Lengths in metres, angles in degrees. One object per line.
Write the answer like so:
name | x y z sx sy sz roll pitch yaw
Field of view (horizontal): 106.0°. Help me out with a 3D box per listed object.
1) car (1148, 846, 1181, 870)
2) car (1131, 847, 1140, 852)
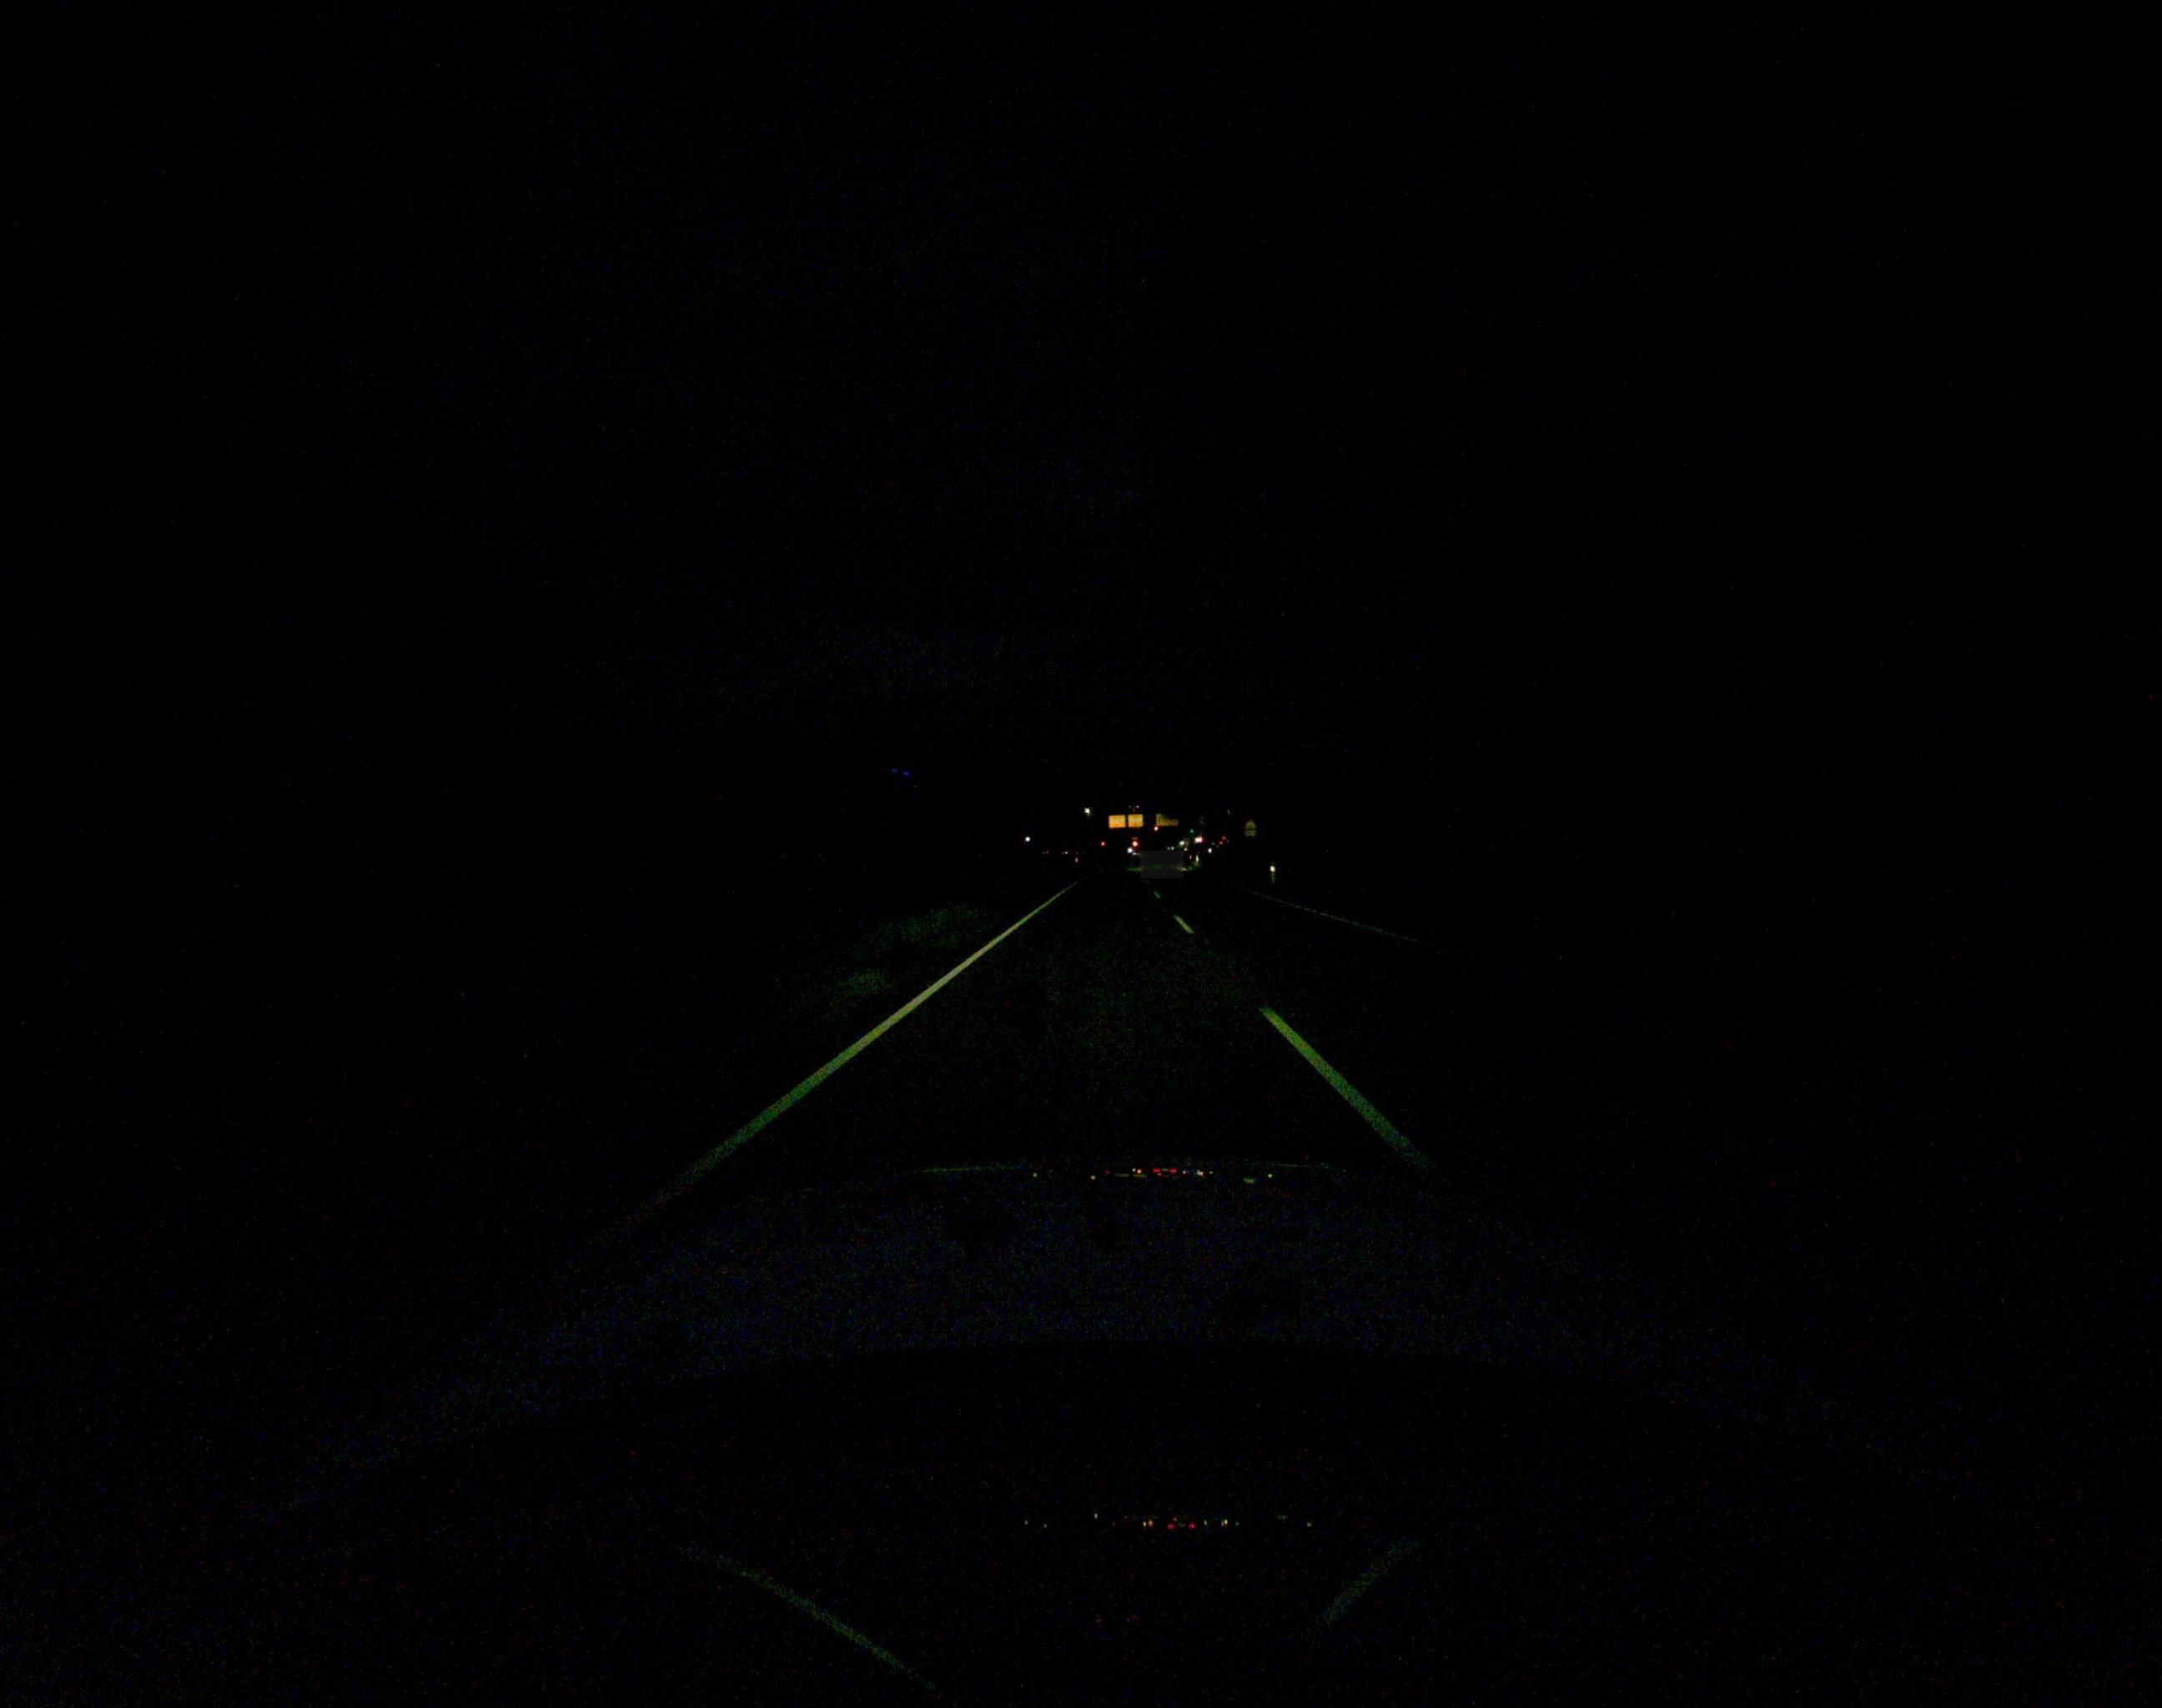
car | 5.814 0.259 57.147 2.000 1.611 3.847 -2 0 2
car | 15.316 -1.322 229.221 1.980 1.425 4.548 -1 1 13
